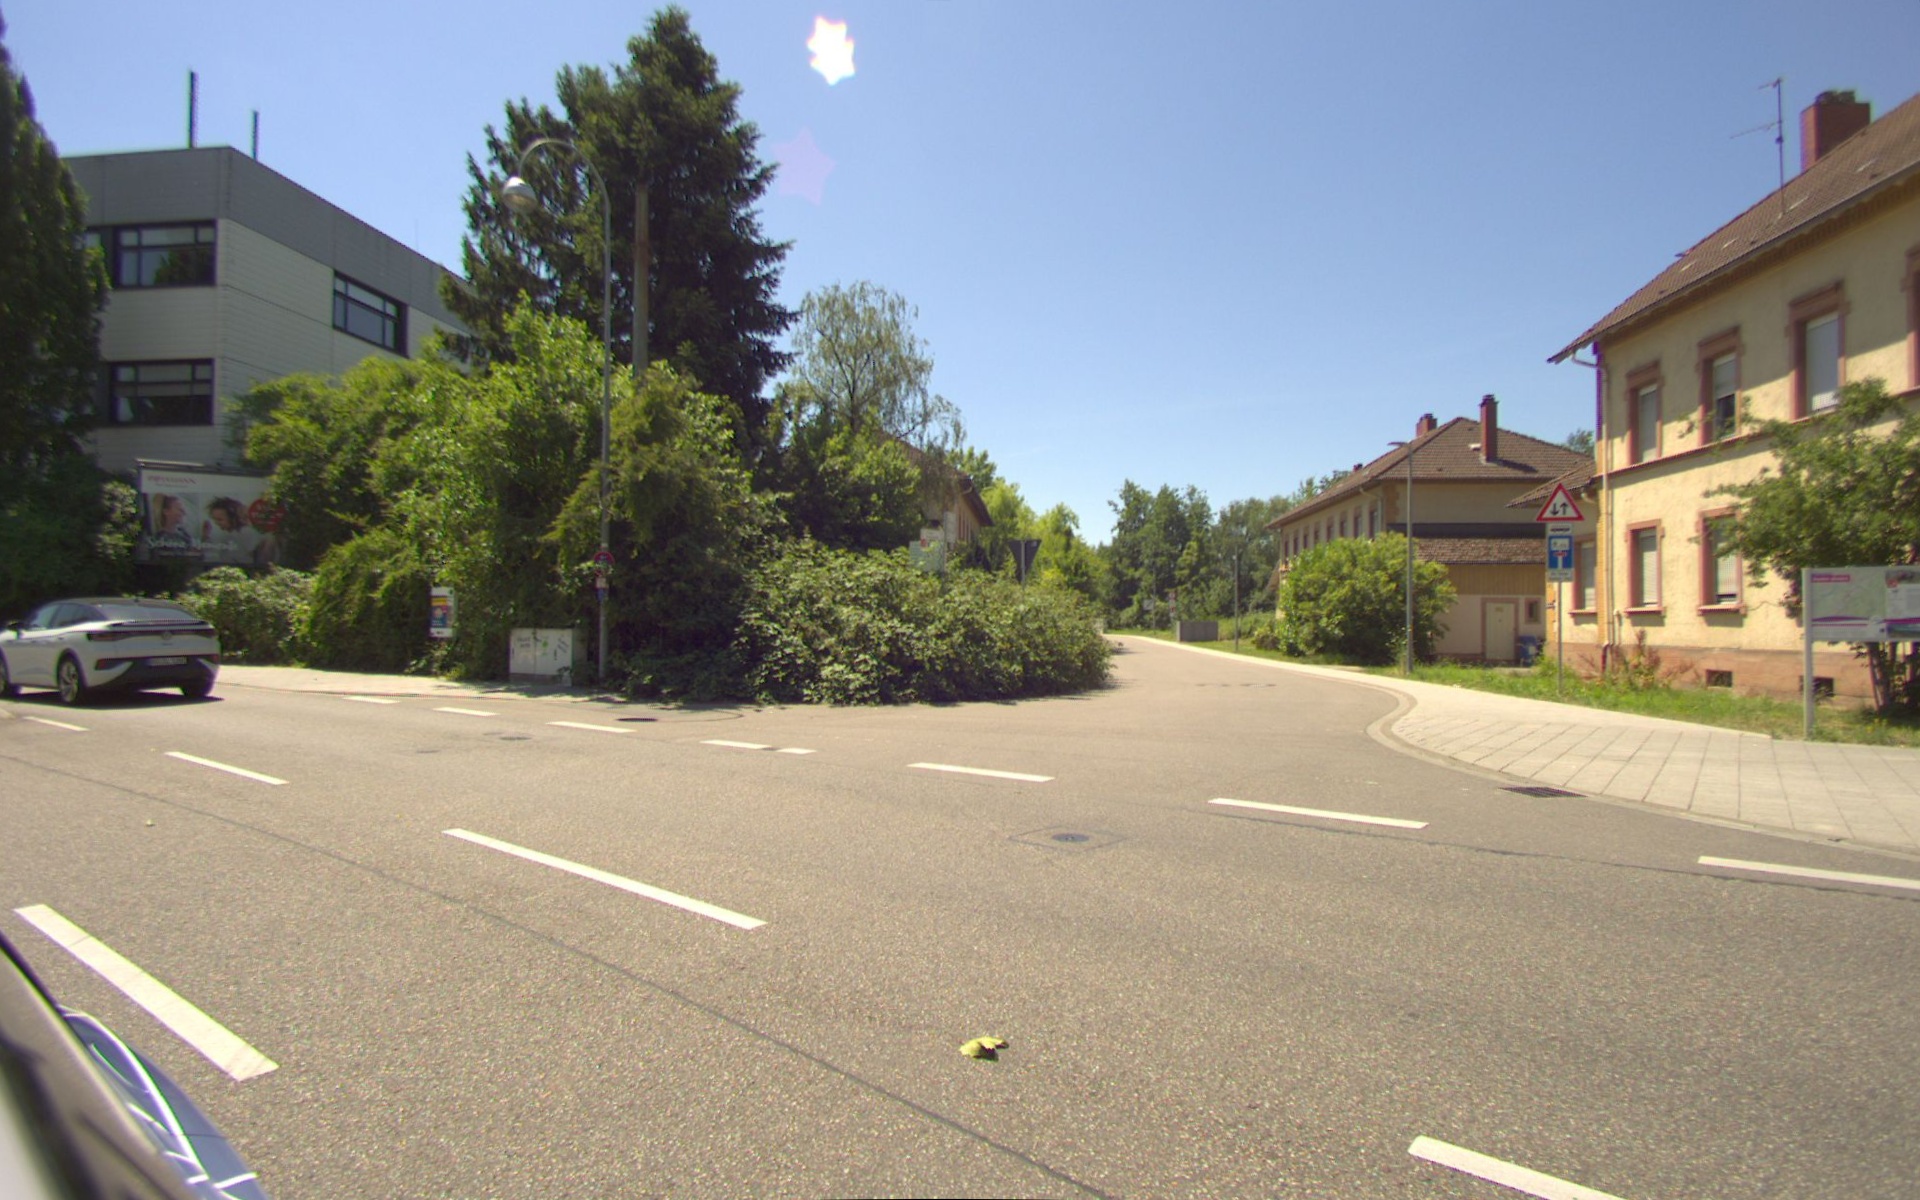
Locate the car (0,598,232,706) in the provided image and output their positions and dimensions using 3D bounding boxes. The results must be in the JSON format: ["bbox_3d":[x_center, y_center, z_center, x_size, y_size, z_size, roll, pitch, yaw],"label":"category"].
[{"bbox_3d":[-13.863,0.790,16.353,4.322,1.542,1.831,-1,-1,30],"label":"car"}]
